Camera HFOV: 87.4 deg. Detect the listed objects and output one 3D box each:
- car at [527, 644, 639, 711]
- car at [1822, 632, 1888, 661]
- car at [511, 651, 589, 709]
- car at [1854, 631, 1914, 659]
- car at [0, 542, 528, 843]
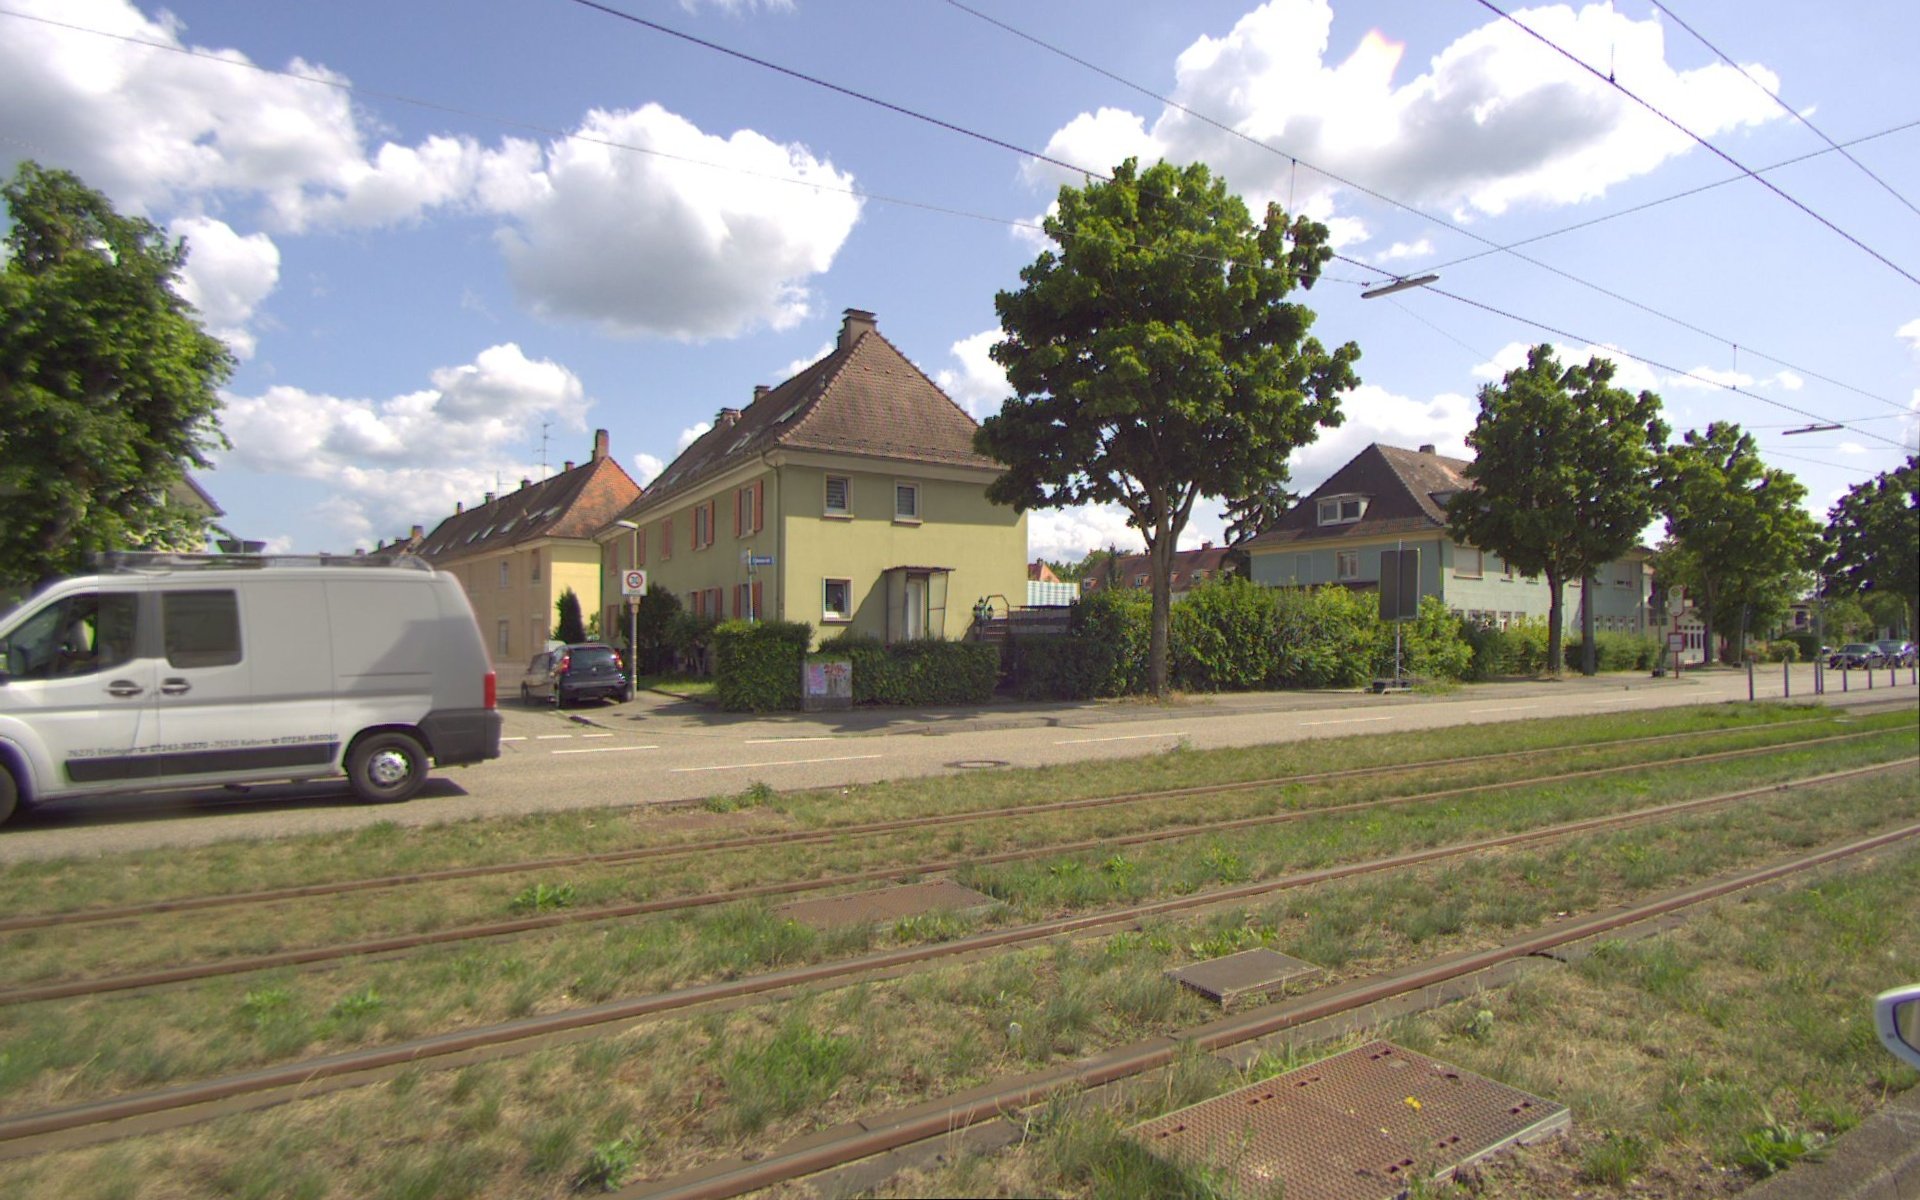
[{"bbox_3d":[-9.355,1.851,24.749,1.874,1.487,3.721,1,-3,-33],"label":"car"},{"bbox_3d":[50.023,2.569,56.124,3.888,1.605,1.776,1,-2,-33],"label":"car"},{"bbox_3d":[-12.651,2.411,30.860,1.707,1.595,3.724,0,-3,-30],"label":"car"},{"bbox_3d":[55.015,2.663,59.759,4.715,1.635,2.043,1,-3,-40],"label":"car"},{"bbox_3d":[-7.189,0.823,9.665,5.277,2.403,2.184,2,-4,-34],"label":"car"}]
